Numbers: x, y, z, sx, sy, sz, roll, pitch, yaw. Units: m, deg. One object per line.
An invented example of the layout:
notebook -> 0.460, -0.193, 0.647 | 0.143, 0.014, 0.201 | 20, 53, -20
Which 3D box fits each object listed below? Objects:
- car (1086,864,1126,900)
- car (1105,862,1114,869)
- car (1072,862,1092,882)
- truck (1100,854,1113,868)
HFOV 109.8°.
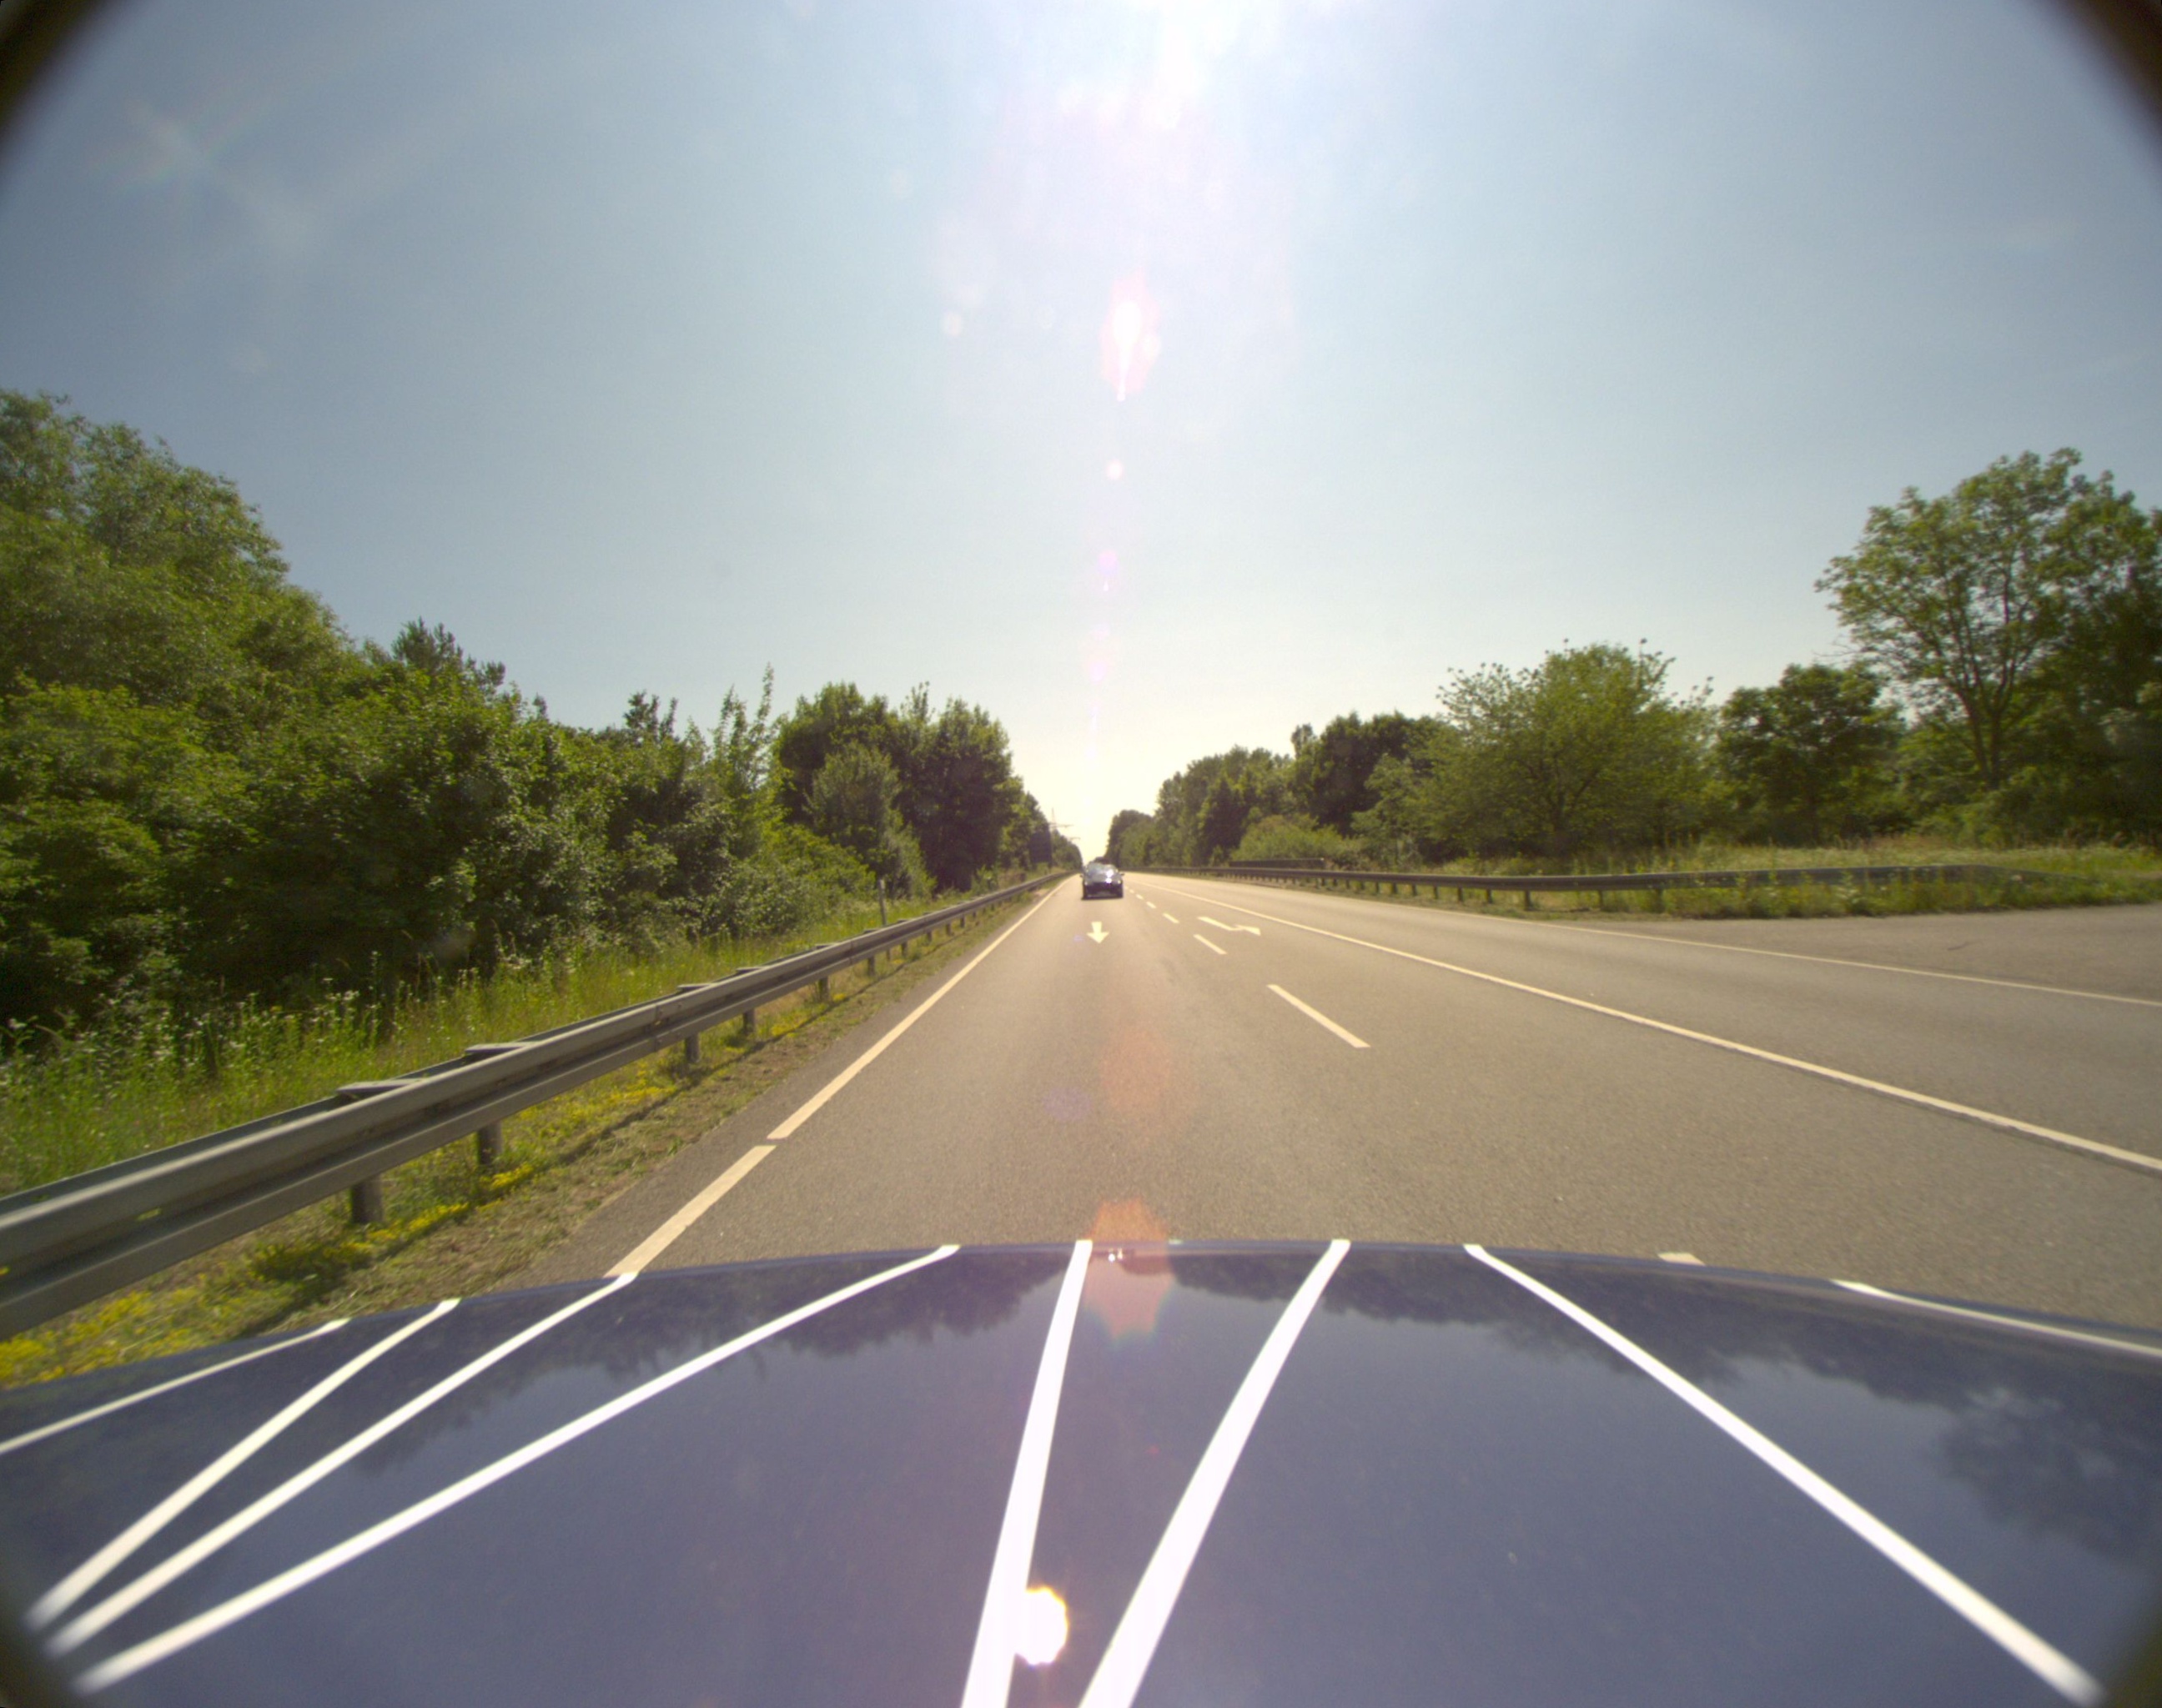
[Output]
car -> 1.025, 1.139, 32.044 | 1.529, 1.387, 3.443 | -2, 0, 1
car -> 7.128, 2.928, 190.672 | 1.823, 1.537, 4.527 | -2, 0, -1
car -> 0.070, 1.395, 59.879 | 1.443, 1.443, 3.298 | -2, 0, -1
truck -> 7.123, 1.954, 214.383 | 3.200, 3.678, 9.007 | -3, -1, 0
